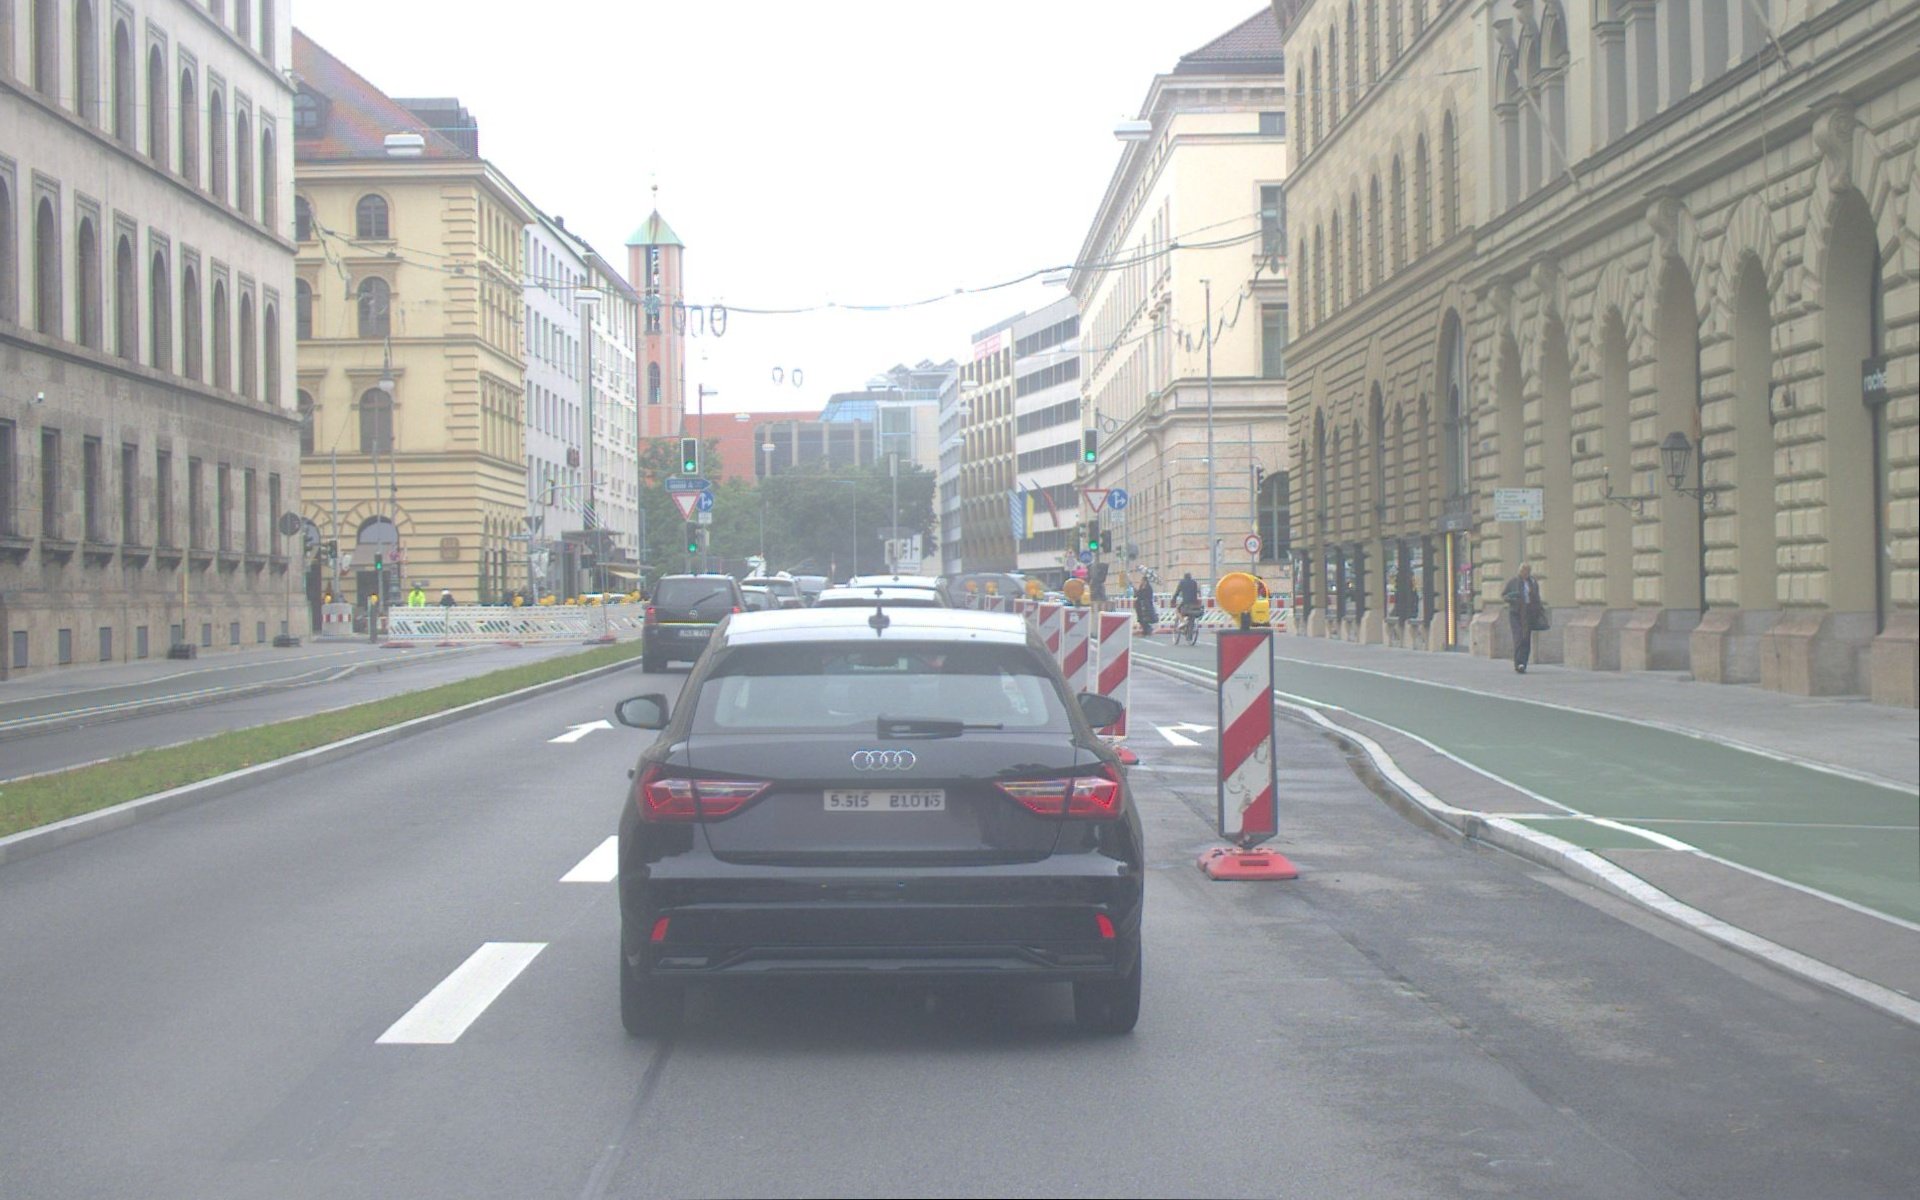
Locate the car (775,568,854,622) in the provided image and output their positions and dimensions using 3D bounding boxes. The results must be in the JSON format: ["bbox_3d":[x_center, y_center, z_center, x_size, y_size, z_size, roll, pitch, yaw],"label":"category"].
[{"bbox_3d":[-3.950,-0.154,93.992,1.993,1.439,4.000,-1,0,0],"label":"car"}]

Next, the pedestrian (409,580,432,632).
[{"bbox_3d":[-18.661,0.194,118.903,0.656,1.799,0.727,-1,0,-1],"label":"pedestrian"}]

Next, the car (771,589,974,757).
[{"bbox_3d":[-0.784,0.623,31.593,1.730,1.398,4.000,1,1,-1],"label":"car"}]

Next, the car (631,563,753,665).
[{"bbox_3d":[-4.408,0.209,56.987,1.764,1.610,4.030,0,0,-1],"label":"car"}]

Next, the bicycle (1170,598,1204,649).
[{"bbox_3d":[5.380,0.550,81.559,0.728,1.152,2.172,-1,0,2],"label":"bicycle"}]

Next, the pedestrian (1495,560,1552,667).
[{"bbox_3d":[8.540,0.200,52.143,0.710,1.612,0.754,-1,0,-1],"label":"pedestrian"}]

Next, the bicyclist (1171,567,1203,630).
[{"bbox_3d":[5.376,-0.042,81.551,0.710,1.495,0.754,-1,0,2],"label":"bicyclist"}]

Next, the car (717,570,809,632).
[{"bbox_3d":[-4.657,0.008,81.736,1.993,1.439,4.000,-1,0,0],"label":"car"}]

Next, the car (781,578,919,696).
[{"bbox_3d":[-1.426,0.459,45.552,1.730,1.456,4.000,1,1,-1],"label":"car"}]

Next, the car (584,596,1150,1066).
[{"bbox_3d":[-0.317,0.713,12.615,1.730,1.398,4.000,1,1,-1],"label":"car"}]

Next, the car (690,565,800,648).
[{"bbox_3d":[-4.331,0.117,69.802,1.993,1.622,4.000,-1,0,0],"label":"car"}]
